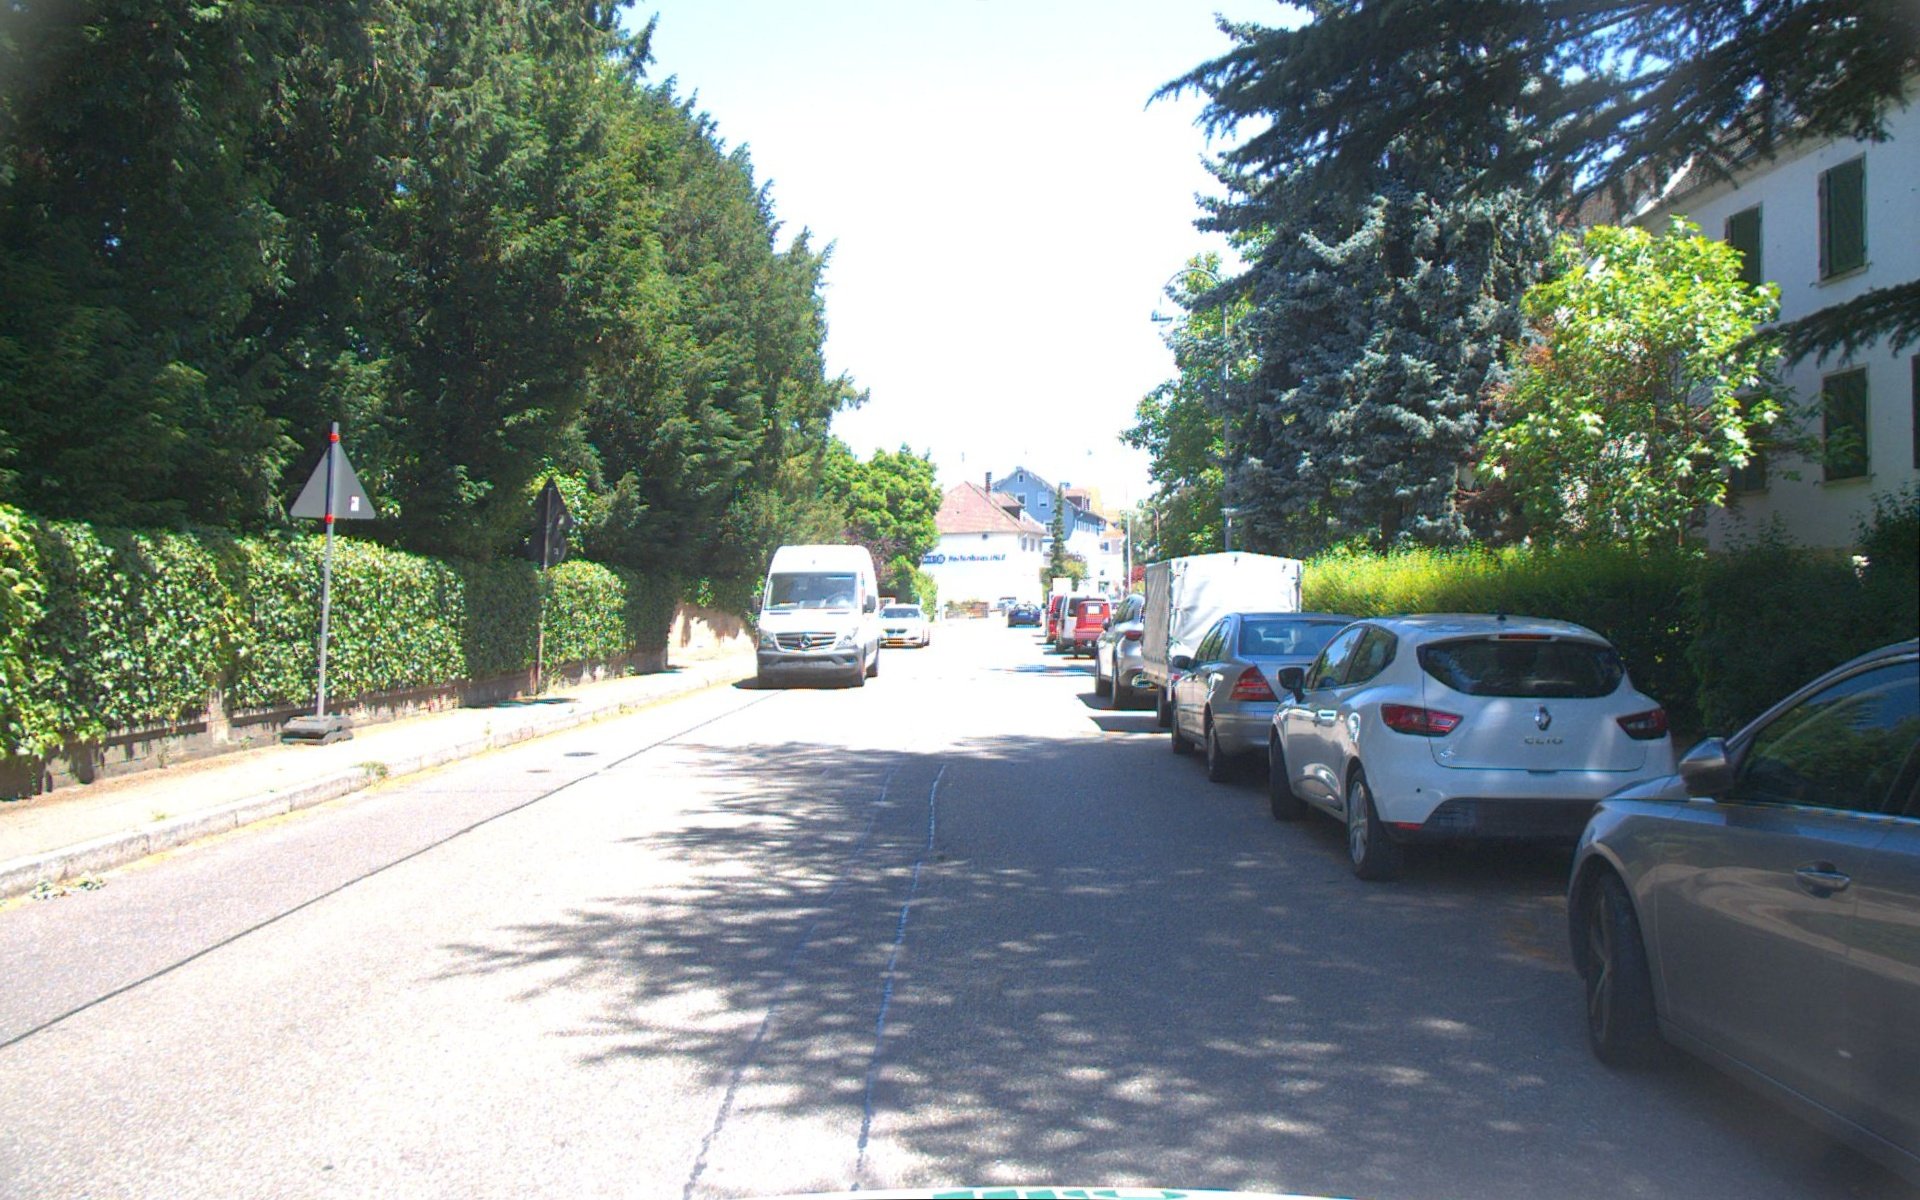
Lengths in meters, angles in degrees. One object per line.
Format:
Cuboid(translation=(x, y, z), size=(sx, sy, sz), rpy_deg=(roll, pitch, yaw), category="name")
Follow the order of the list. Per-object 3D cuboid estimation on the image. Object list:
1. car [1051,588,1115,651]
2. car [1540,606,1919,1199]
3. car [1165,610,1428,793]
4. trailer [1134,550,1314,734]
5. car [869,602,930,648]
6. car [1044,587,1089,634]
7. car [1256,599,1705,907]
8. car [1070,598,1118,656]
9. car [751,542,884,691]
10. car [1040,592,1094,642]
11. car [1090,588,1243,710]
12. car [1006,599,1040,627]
Cuboid(translation=(3.670, 0.539, 49.944), size=(1.710, 1.813, 4.544), rpy_deg=(0, 0, 2), category="car")
Cuboid(translation=(2.940, 0.767, 3.938), size=(1.581, 1.476, 4.374), rpy_deg=(1, -1, 0), category="car")
Cuboid(translation=(2.921, 0.812, 15.183), size=(1.581, 1.420, 4.259), rpy_deg=(0, 0, 0), category="car")
Cuboid(translation=(3.207, 0.453, 20.732), size=(1.645, 2.104, 3.708), rpy_deg=(0, 1, 0), category="trailer")
Cuboid(translation=(-2.028, 0.827, 56.592), size=(1.826, 1.407, 4.605), rpy_deg=(-2, 1, 0), category="car")
Cuboid(translation=(4.683, 0.449, 73.454), size=(1.863, 1.958, 4.720), rpy_deg=(-1, 1, 3), category="car")
Cuboid(translation=(3.003, 0.777, 10.427), size=(1.581, 1.495, 4.065), rpy_deg=(-1, 0, 1), category="car")
Cuboid(translation=(3.643, 0.718, 45.101), size=(1.234, 1.521, 2.710), rpy_deg=(0, 0, 3), category="car")
Cuboid(translation=(-2.620, 0.285, 31.818), size=(1.952, 2.577, 5.894), rpy_deg=(-1, 0, 1), category="car")
Cuboid(translation=(3.830, 0.580, 59.810), size=(1.863, 1.758, 4.393), rpy_deg=(0, 0, 3), category="car")
Cuboid(translation=(3.065, 0.667, 25.385), size=(1.735, 1.660, 4.604), rpy_deg=(0, 1, 0), category="car")
Cuboid(translation=(3.681, 0.748, 95.804), size=(1.756, 1.537, 4.002), rpy_deg=(0, 0, 5), category="car")
